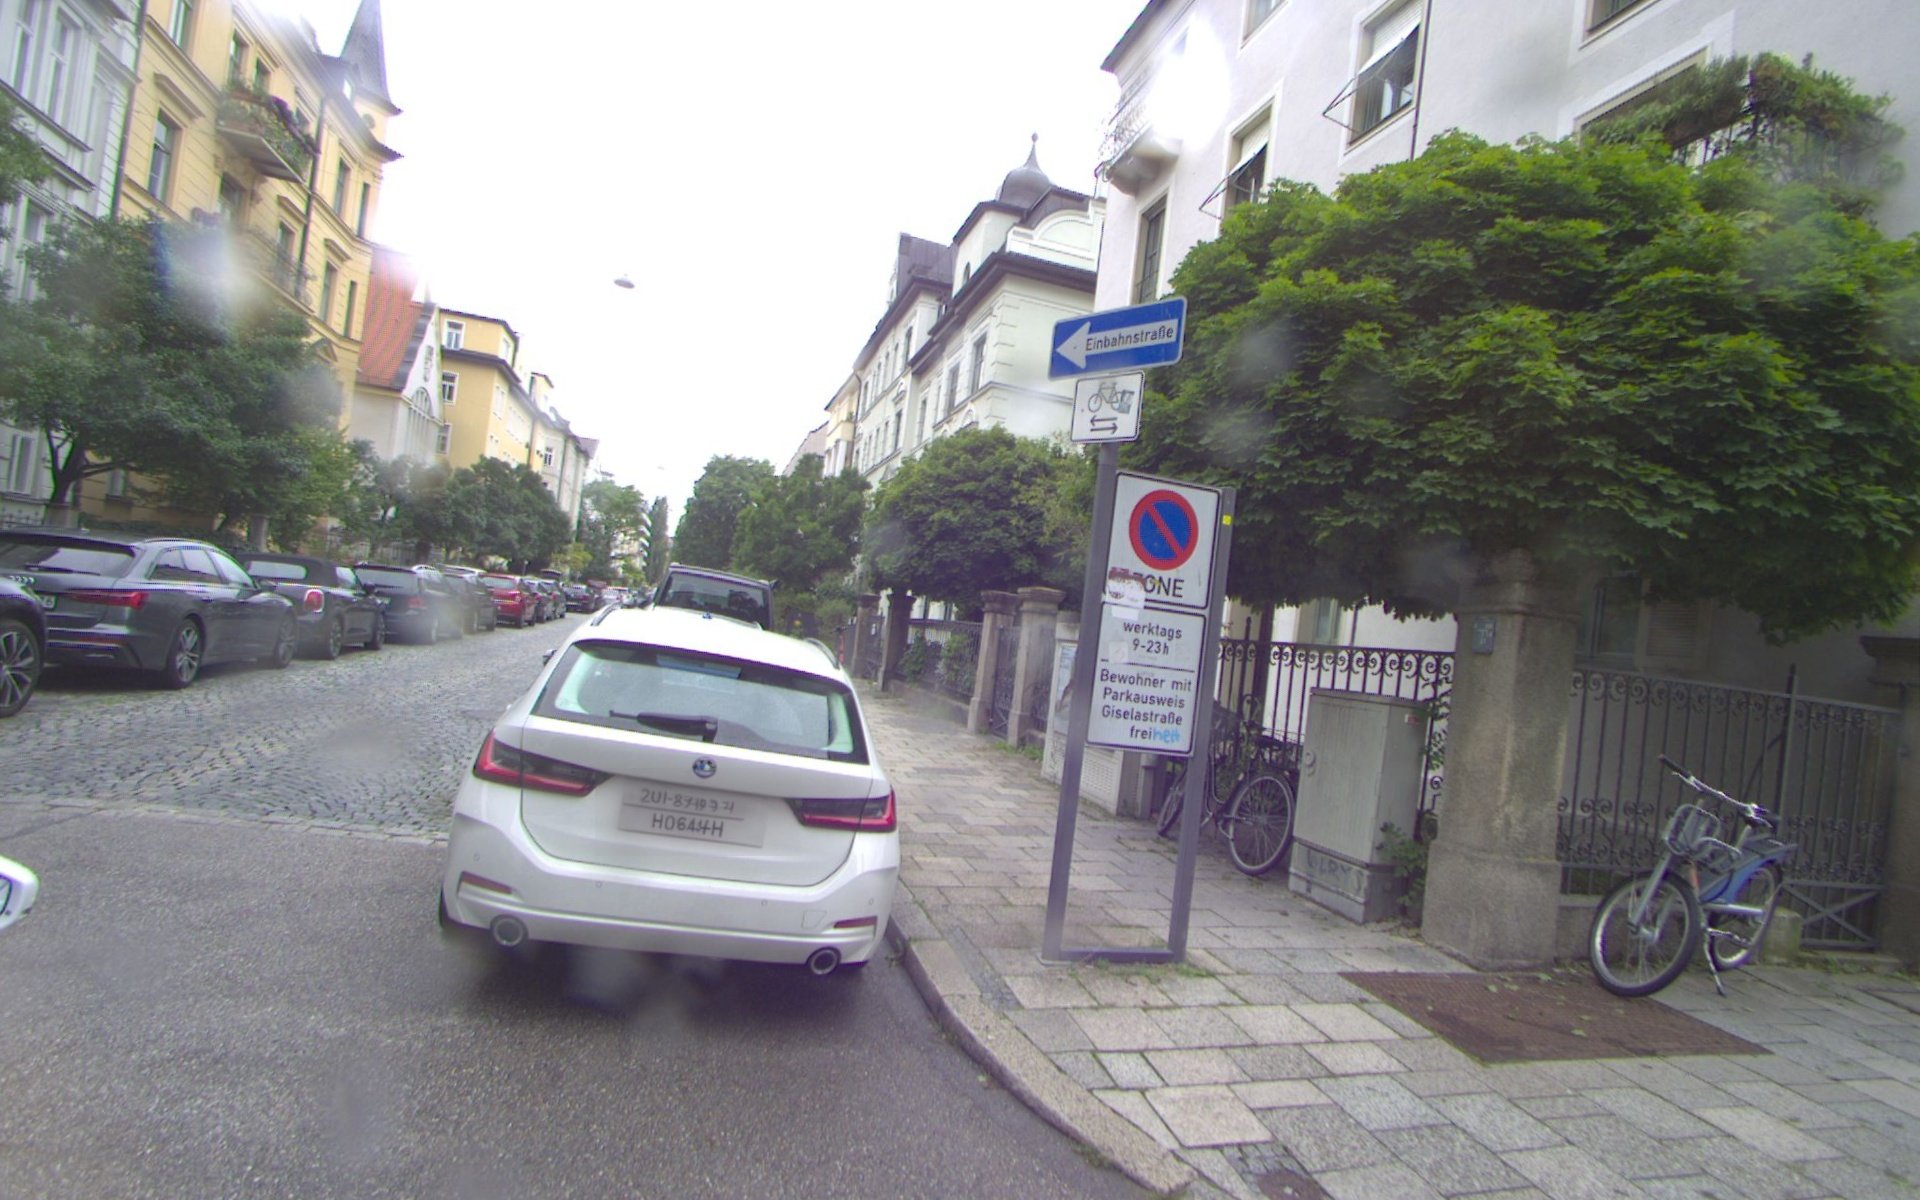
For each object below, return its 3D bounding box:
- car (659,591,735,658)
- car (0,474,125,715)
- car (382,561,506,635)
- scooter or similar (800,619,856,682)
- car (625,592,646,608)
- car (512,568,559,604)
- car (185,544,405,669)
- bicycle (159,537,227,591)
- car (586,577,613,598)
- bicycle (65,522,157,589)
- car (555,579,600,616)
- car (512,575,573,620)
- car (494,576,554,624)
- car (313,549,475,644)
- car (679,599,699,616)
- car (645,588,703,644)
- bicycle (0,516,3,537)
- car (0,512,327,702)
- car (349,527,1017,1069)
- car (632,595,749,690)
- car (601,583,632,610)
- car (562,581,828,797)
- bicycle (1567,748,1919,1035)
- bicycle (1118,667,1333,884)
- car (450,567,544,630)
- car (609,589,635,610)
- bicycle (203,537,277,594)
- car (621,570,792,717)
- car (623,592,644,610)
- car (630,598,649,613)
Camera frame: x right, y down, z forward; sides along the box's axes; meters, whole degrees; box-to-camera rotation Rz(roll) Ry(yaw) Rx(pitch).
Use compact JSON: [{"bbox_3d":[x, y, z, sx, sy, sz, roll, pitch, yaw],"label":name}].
[{"bbox_3d":[-8.093,0.743,31.127,1.899,1.653,4.037,10,-3,-14],"label":"car"},{"bbox_3d":[-7.308,-0.103,5.746,1.913,1.672,5.041,4,-1,-15],"label":"car"},{"bbox_3d":[-12.721,-0.023,25.064,1.897,1.565,3.990,4,-1,-16],"label":"car"},{"bbox_3d":[-3.020,1.167,23.109,0.618,1.348,1.605,4,-2,15],"label":"scooter or similar"},{"bbox_3d":[-35.735,0.041,110.850,1.897,1.655,3.729,4,-1,-16],"label":"car"},{"bbox_3d":[-22.772,-0.728,54.127,1.758,1.654,3.728,8,-2,-17],"label":"car"},{"bbox_3d":[-9.912,0.085,15.328,1.683,1.535,3.715,5,-1,-17],"label":"car"},{"bbox_3d":[-16.682,-0.758,21.920,0.413,1.039,1.760,8,-2,-15],"label":"bicycle"},{"bbox_3d":[-32.822,-1.123,91.658,1.897,1.655,3.729,4,-1,-16],"label":"car"},{"bbox_3d":[-15.944,-0.803,18.932,0.366,1.115,1.830,8,-1,-11],"label":"bicycle"},{"bbox_3d":[-20.556,-0.116,54.241,1.900,1.654,3.727,8,-2,-18],"label":"car"},{"bbox_3d":[-16.938,-0.072,40.958,1.639,1.552,3.477,7,-2,-13],"label":"car"},{"bbox_3d":[-15.026,0.013,34.768,1.413,1.478,2.645,4,-1,-14],"label":"car"},{"bbox_3d":[-11.002,-0.032,19.878,1.704,1.559,4.325,4,-1,-15],"label":"car"},{"bbox_3d":[-28.508,0.763,105.635,1.897,1.655,3.729,4,-1,-16],"label":"car"},{"bbox_3d":[-9.854,0.544,34.856,1.639,1.654,3.532,7,-2,-13],"label":"car"},{"bbox_3d":[-14.643,-0.745,14.436,0.358,1.145,1.882,8,-2,-16],"label":"bicycle"},{"bbox_3d":[-8.676,0.013,10.845,1.783,1.523,5.159,5,-1,-18],"label":"car"},{"bbox_3d":[-1.459,0.698,5.656,1.885,1.548,4.908,10,-2,-15],"label":"car"},{"bbox_3d":[-5.566,0.809,20.968,1.899,1.449,4.790,10,-3,-14],"label":"car"},{"bbox_3d":[-25.367,-0.231,74.422,1.897,1.861,3.729,4,-1,-16],"label":"car"},{"bbox_3d":[-2.799,0.770,10.572,1.907,1.523,4.862,9,-3,-16],"label":"car"},{"bbox_3d":[4.073,1.487,5.205,1.752,1.240,0.541,7,0,-21],"label":"bicycle"},{"bbox_3d":[1.919,1.234,7.597,0.461,1.290,1.913,8,-3,-18],"label":"bicycle"},{"bbox_3d":[-13.896,-0.019,30.423,1.897,1.655,3.796,4,-1,-15],"label":"car"},{"bbox_3d":[-29.122,0.007,86.813,1.897,1.655,3.729,4,-1,-16],"label":"car"},{"bbox_3d":[-16.960,-0.793,23.744,0.412,1.156,1.765,8,-2,-3],"label":"bicycle"},{"bbox_3d":[-3.961,0.580,15.605,1.997,1.710,4.836,8,-2,-15],"label":"car"},{"bbox_3d":[-34.372,0.113,105.892,1.897,1.655,3.729,4,-1,-16],"label":"car"},{"bbox_3d":[-37.244,0.625,116.840,1.897,1.655,3.729,4,-1,-16],"label":"car"}]
